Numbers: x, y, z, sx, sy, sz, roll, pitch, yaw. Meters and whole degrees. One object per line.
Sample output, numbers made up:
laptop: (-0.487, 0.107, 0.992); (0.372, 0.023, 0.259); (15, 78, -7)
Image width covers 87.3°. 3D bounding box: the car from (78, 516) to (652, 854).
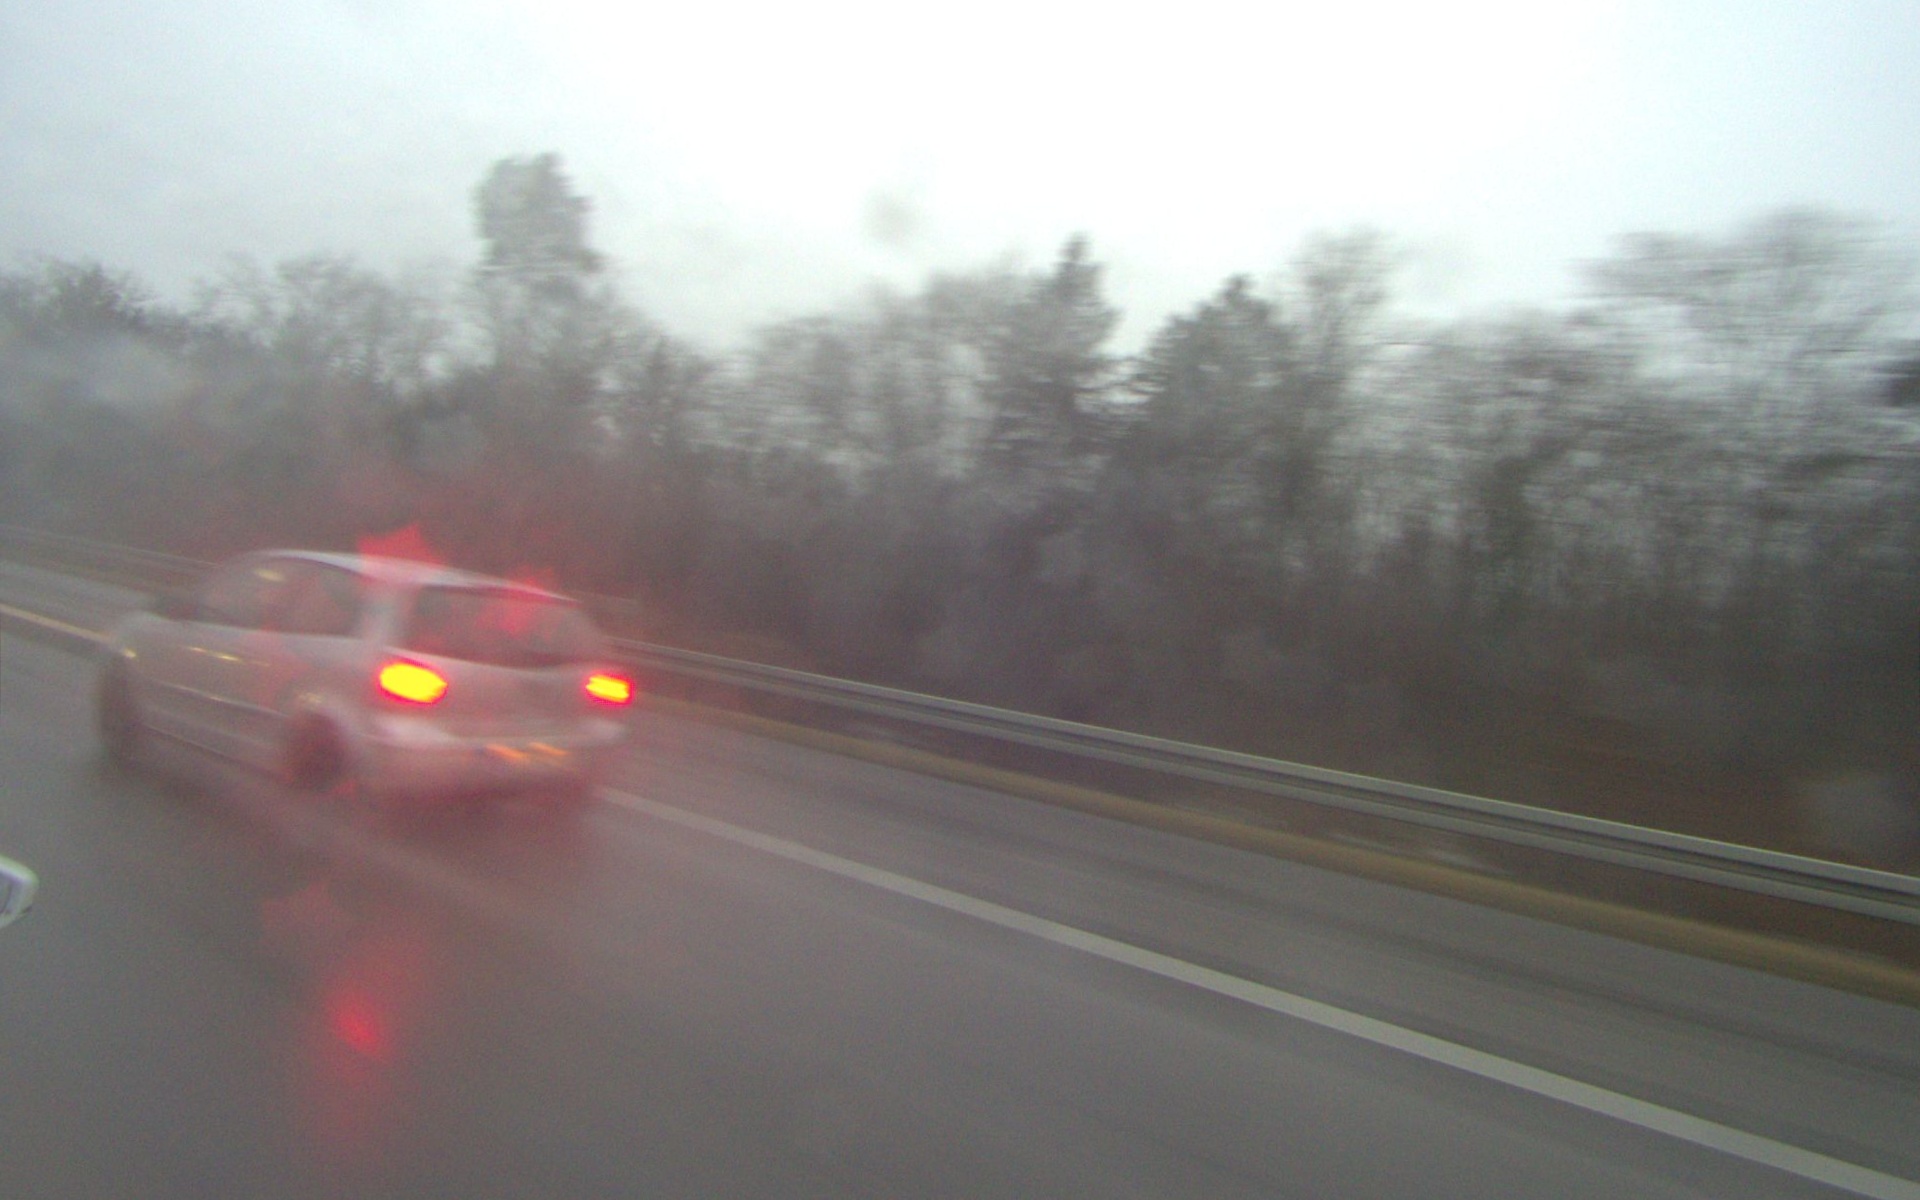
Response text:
car: (-3.692, 0.382, 6.155); (3.250, 1.382, 1.601); (7, 0, 32)
